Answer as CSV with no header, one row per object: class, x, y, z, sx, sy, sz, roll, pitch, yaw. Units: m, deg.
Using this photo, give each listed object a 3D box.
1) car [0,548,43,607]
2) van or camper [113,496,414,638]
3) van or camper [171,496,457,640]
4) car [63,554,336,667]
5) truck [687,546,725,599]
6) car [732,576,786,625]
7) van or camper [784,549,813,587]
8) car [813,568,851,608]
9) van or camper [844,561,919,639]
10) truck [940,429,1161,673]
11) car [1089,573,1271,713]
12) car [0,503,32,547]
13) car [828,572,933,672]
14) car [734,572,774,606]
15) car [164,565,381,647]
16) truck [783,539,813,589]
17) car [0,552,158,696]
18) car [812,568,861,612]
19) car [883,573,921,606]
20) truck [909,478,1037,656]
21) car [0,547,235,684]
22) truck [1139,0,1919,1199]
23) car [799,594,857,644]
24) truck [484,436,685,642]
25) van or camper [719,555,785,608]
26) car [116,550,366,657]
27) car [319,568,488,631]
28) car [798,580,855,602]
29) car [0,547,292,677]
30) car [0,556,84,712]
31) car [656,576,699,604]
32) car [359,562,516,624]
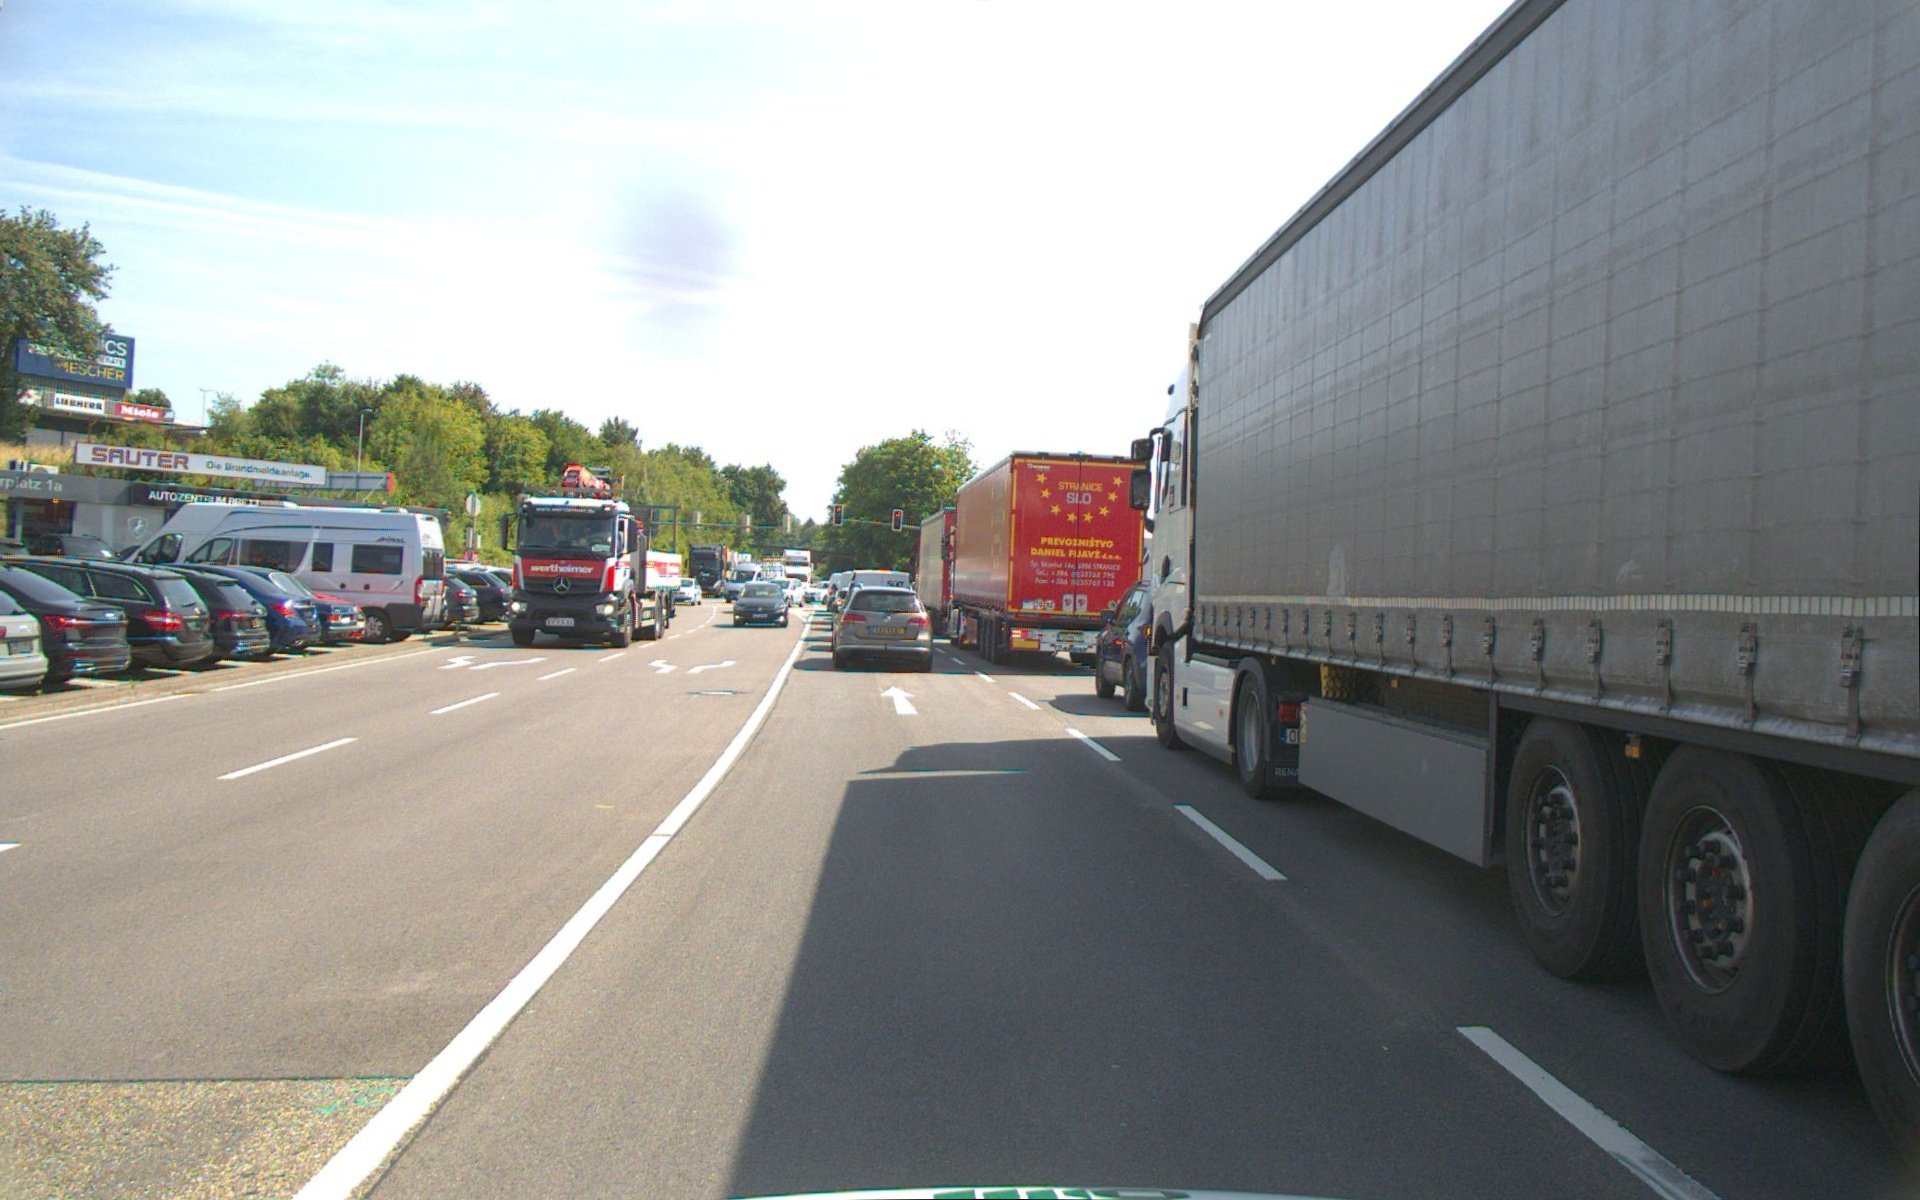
car,-27.228,-0.667,46.792,1.750,1.616,3.779,1,1,-37
van or camper,-15.660,-0.743,37.475,5.776,2.923,2.288,2,1,-4
van or camper,-13.658,-0.664,35.238,5.141,2.779,2.209,2,0,-3
car,-12.429,0.150,27.208,3.636,1.582,1.706,3,2,-6
truck,-19.339,-2.096,126.250,2.760,3.852,6.977,0,1,-8
car,-6.930,-0.002,56.854,1.772,1.587,4.380,1,1,-8
van or camper,-13.312,-2.617,136.618,2.180,2.890,5.705,2,0,-4
car,-6.554,-0.623,85.072,1.692,1.942,3.311,2,0,-1
van or camper,-2.157,-0.017,44.432,1.816,1.939,3.781,2,1,-5
truck,1.574,-1.014,38.530,2.899,4.344,16.570,2,1,-4
car,2.904,0.515,22.645,1.782,1.714,3.998,1,1,-2
car,-34.482,-2.673,58.721,1.724,1.476,3.687,3,0,-45
car,-1.386,0.362,30.017,1.754,1.667,3.503,1,0,-1
car,-9.987,-0.564,80.139,1.873,1.547,4.773,1,1,-7
car,-13.522,0.108,32.687,3.522,1.506,1.811,1,1,-3
truck,-14.716,-3.223,150.391,2.503,4.382,7.589,1,1,-4
car,-12.215,0.138,19.800,4.217,1.510,1.796,6,0,-6
car,-4.629,-0.349,62.338,1.692,1.545,3.310,2,0,-3
car,-2.931,-0.500,83.516,1.693,1.545,3.309,3,0,-5
truck,0.137,-1.127,58.924,3.002,5.311,16.993,2,1,-4
car,-12.470,0.122,22.427,4.374,1.510,1.770,6,0,-6
truck,3.626,-0.698,9.311,2.832,4.340,16.704,2,1,-2
car,-4.300,0.604,54.209,1.692,1.545,3.311,2,0,-2
truck,-8.713,-1.345,39.825,2.897,4.282,10.641,0,1,-3
van or camper,-13.017,-1.123,103.968,2.160,3.109,5.907,2,0,12
car,-12.843,0.051,29.725,3.637,1.510,1.706,6,0,-6
car,-14.211,-0.023,42.425,3.742,1.473,1.841,1,1,-5
car,-9.113,-0.608,113.177,1.683,1.473,4.065,2,1,36
car,-12.224,0.166,24.601,3.771,1.510,1.800,6,0,-6
car,-11.749,0.166,17.169,4.196,1.510,1.834,6,0,-6
car,-15.279,-0.546,89.691,1.800,1.473,4.079,1,1,-3
car,-14.253,-0.204,45.275,3.742,1.566,1.841,1,0,-5
